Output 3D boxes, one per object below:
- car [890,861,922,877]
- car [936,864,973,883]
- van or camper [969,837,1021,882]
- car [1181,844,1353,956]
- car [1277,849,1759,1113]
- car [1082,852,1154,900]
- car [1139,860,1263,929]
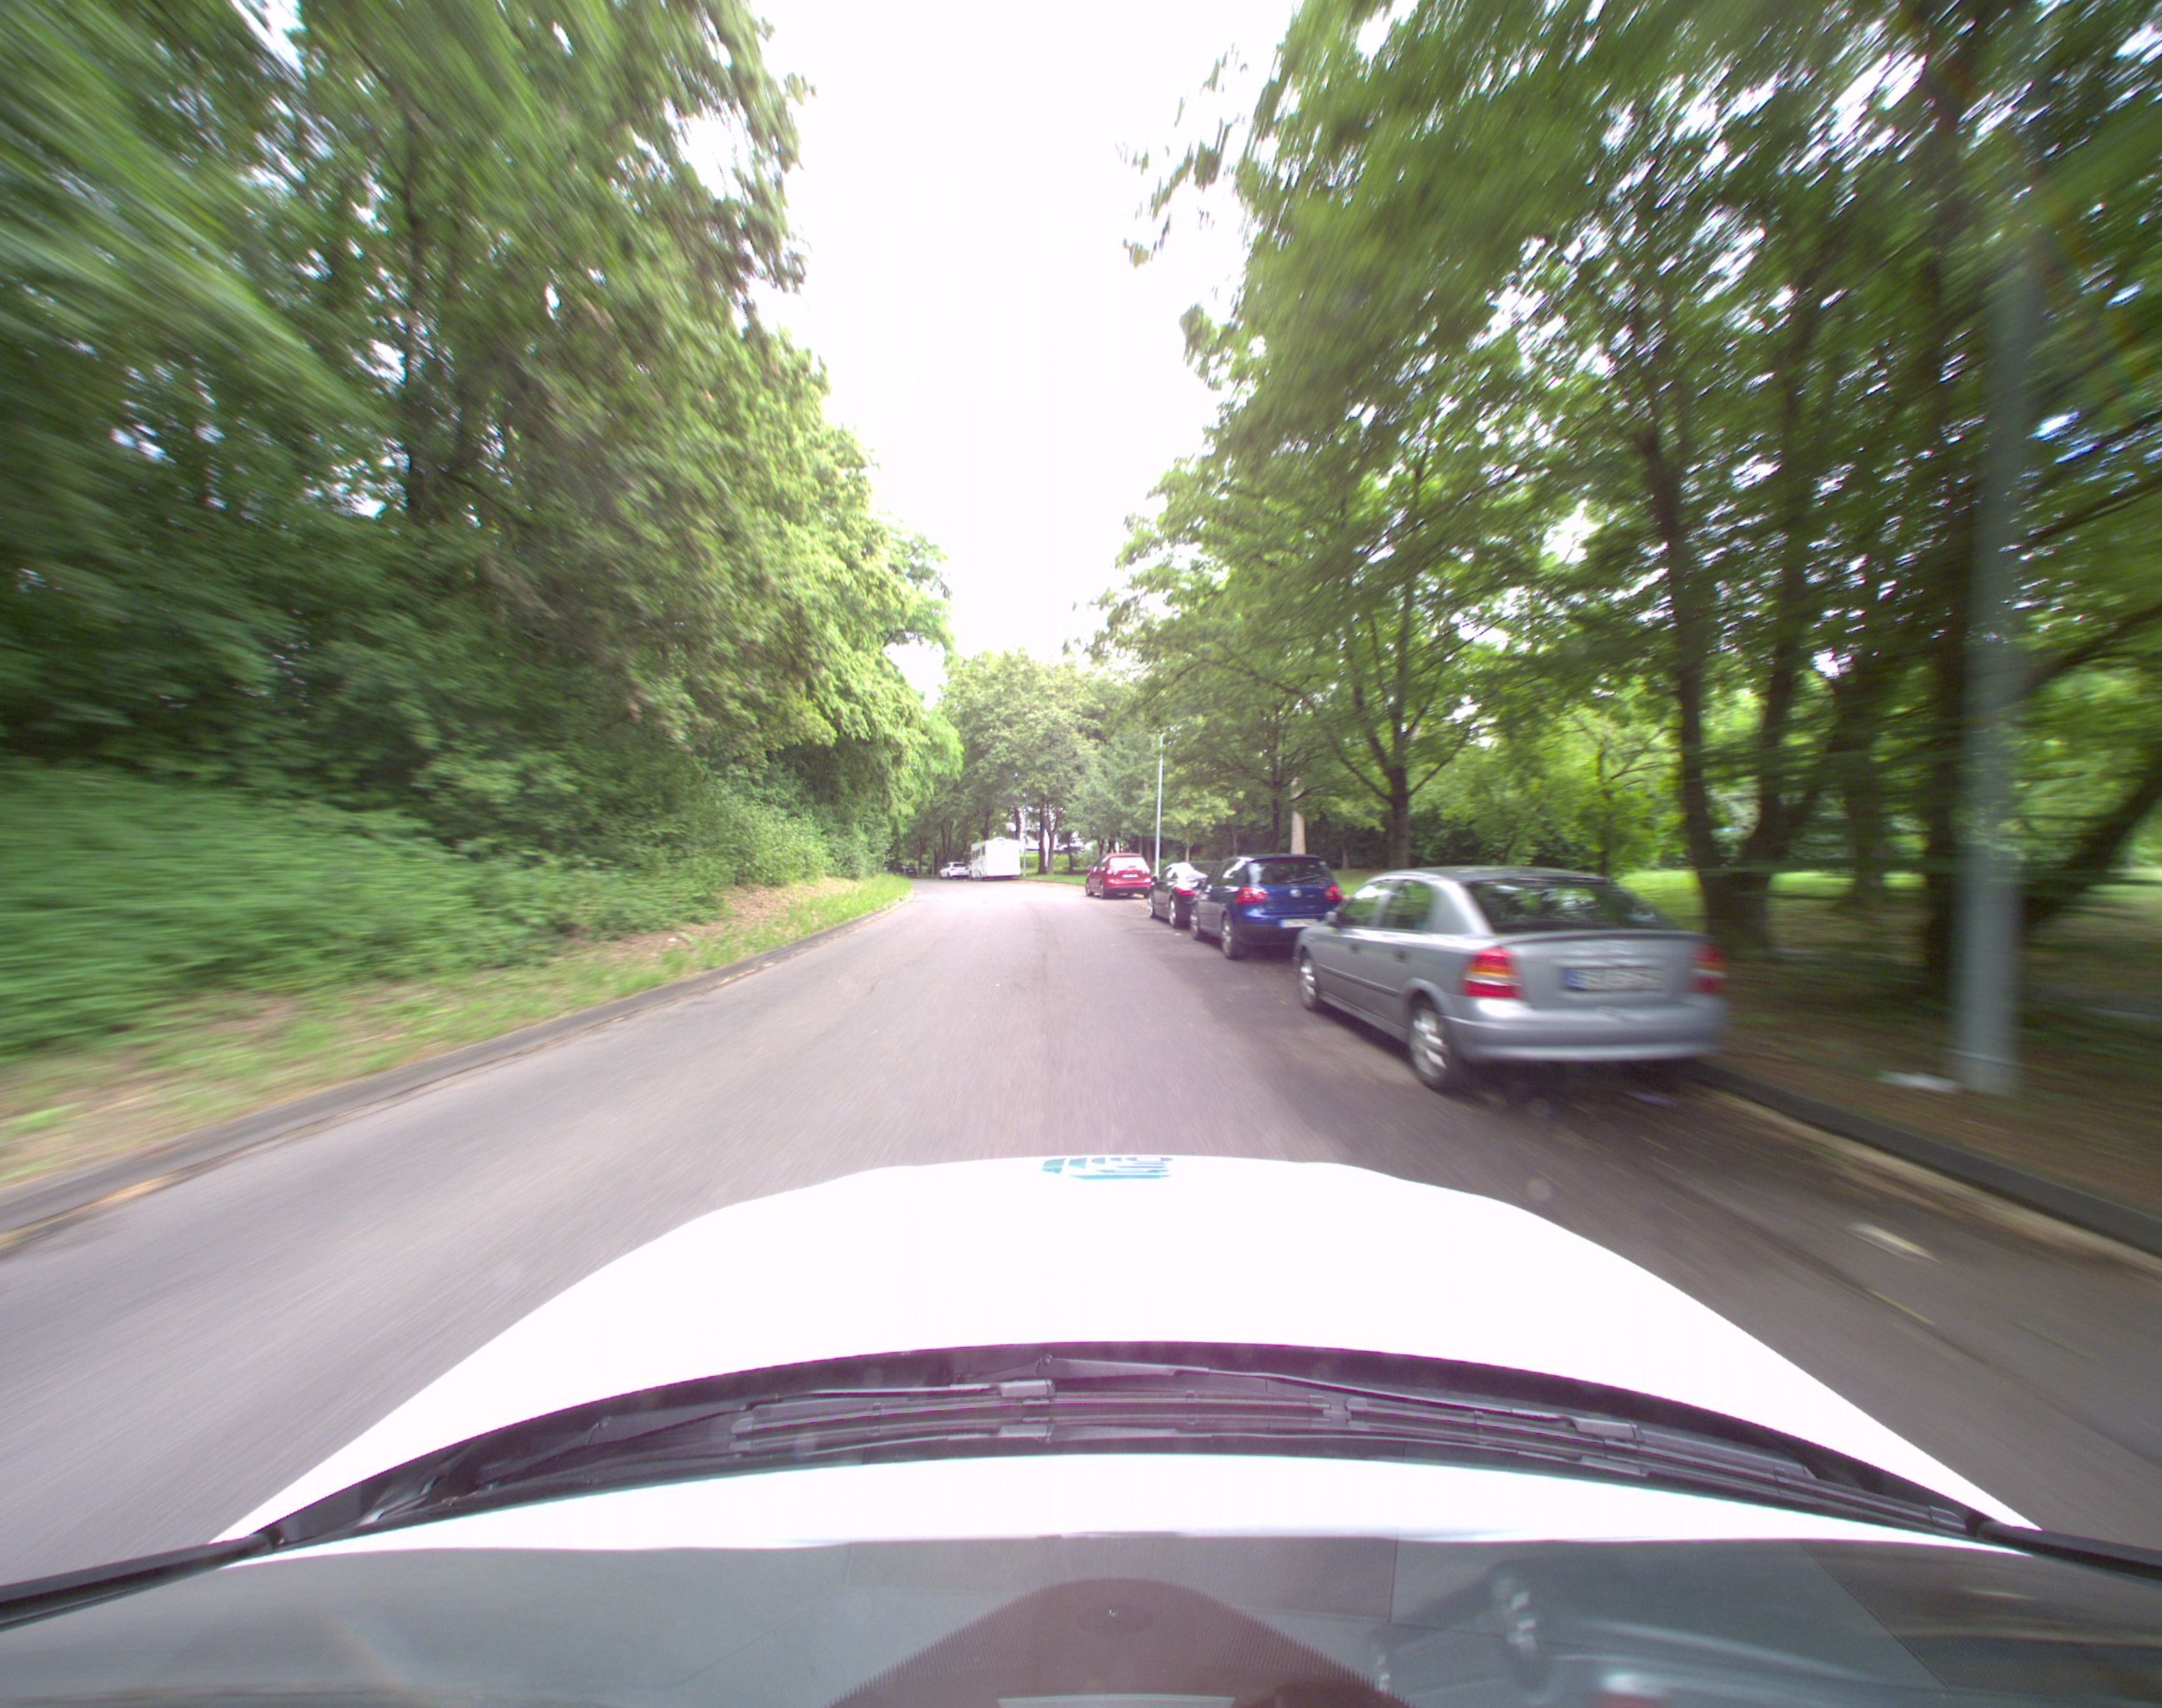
[{"bbox_3d":[-18.286,1.539,84.925,2.007,1.501,3.959,2,-1,-33],"label":"car"},{"bbox_3d":[-10.938,1.667,70.279,2.005,1.473,3.964,2,-1,-28],"label":"car"},{"bbox_3d":[-6.186,0.396,58.018,2.437,3.007,5.174,-1,0,-20],"label":"van or camper"},{"bbox_3d":[2.833,0.669,13.363,1.710,1.510,4.177,2,-1,-2],"label":"car"},{"bbox_3d":[2.956,0.704,6.582,1.713,1.431,3.947,-1,1,-1],"label":"car"},{"bbox_3d":[1.234,0.758,28.961,1.738,1.562,3.986,-1,-1,-10],"label":"car"},{"bbox_3d":[2.505,0.799,18.116,1.748,1.337,4.407,0,0,-5],"label":"car"}]
